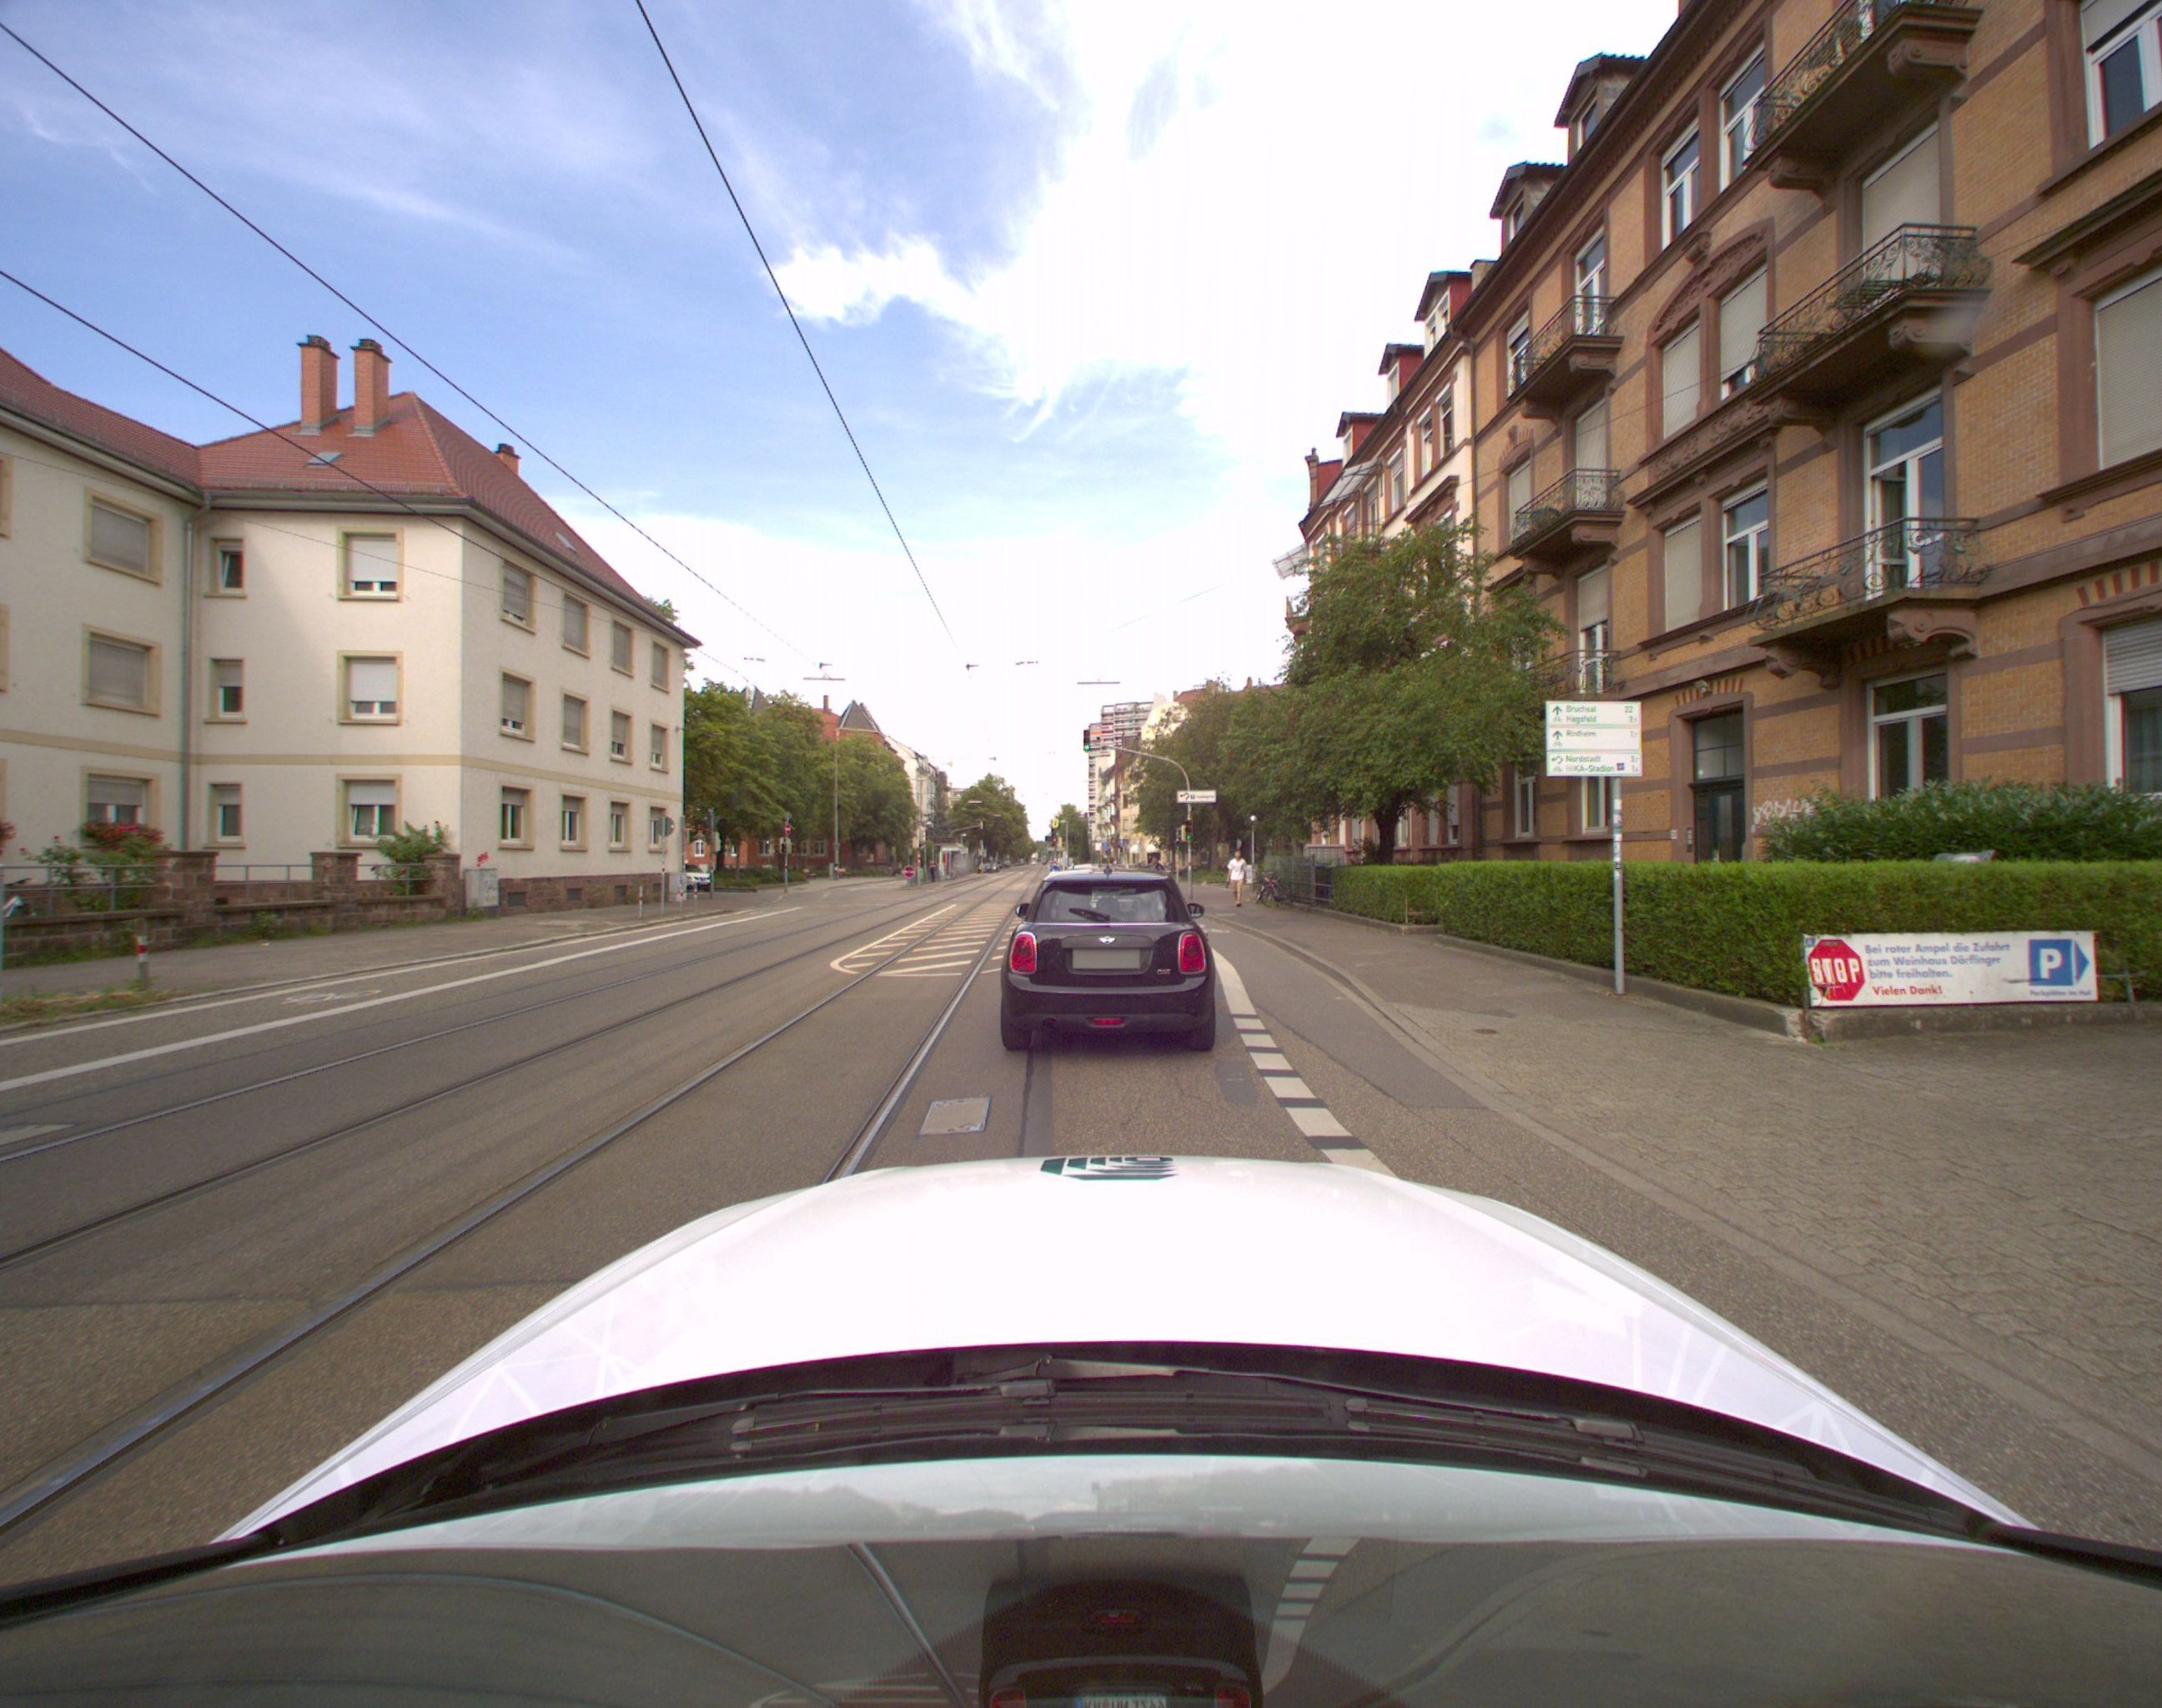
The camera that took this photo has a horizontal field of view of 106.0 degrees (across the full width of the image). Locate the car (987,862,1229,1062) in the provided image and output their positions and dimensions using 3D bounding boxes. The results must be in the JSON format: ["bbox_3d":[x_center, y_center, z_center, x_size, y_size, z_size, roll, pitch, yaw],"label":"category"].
[{"bbox_3d":[0.250,0.805,7.920,1.745,1.441,4.001,-1,-1,1],"label":"car"}]

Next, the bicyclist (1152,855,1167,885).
[{"bbox_3d":[4.080,0.823,42.398,0.682,1.564,0.998,-1,-1,0],"label":"bicyclist"}]

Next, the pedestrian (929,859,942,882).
[{"bbox_3d":[-10.233,1.164,57.246,0.851,1.621,0.841,0,-1,-8],"label":"pedestrian"}]

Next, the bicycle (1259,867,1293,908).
[{"bbox_3d":[5.579,0.944,23.357,0.507,1.088,1.549,-4,0,-2],"label":"bicycle"}]

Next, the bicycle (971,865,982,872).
[{"bbox_3d":[-16.335,2.275,127.900,1.681,1.119,0.566,0,-1,-42],"label":"bicycle"}]

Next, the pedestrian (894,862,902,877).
[{"bbox_3d":[-20.681,1.717,92.178,0.832,1.703,0.731,0,-1,-8],"label":"pedestrian"}]

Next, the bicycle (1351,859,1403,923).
[{"bbox_3d":[6.172,0.743,17.058,0.514,1.282,1.550,-1,-1,0],"label":"bicycle"}]

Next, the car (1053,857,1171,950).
[{"bbox_3d":[0.563,0.828,15.318,1.920,1.510,4.001,-1,-1,1],"label":"car"}]

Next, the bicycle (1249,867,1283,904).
[{"bbox_3d":[5.909,0.983,26.094,0.669,1.106,1.671,-1,0,-2],"label":"bicycle"}]

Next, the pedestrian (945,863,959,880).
[{"bbox_3d":[-10.344,1.412,65.215,1.057,1.294,0.983,0,-1,-8],"label":"pedestrian"}]

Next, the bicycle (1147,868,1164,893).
[{"bbox_3d":[3.620,1.279,39.816,0.597,1.170,1.695,-1,0,-2],"label":"bicycle"}]

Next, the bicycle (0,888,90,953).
[{"bbox_3d":[-16.120,1.004,12.224,0.476,0.915,1.671,-1,0,-2],"label":"bicycle"}]

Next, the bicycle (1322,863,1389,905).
[{"bbox_3d":[6.979,0.757,20.743,1.542,1.009,0.509,-1,-1,-4],"label":"bicycle"}]

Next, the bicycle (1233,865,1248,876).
[{"bbox_3d":[16.760,1.749,85.449,0.659,1.128,1.905,-1,-1,40],"label":"bicycle"}]

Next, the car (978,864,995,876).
[{"bbox_3d":[-12.254,2.024,105.824,1.746,1.441,3.999,1,-1,0],"label":"car"}]

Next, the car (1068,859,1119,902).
[{"bbox_3d":[0.460,0.940,30.320,1.746,1.441,4.479,-1,-1,0],"label":"car"}]

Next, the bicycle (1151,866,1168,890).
[{"bbox_3d":[4.078,1.243,42.449,0.682,1.170,1.696,-1,0,0],"label":"bicycle"}]

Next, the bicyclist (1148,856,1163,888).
[{"bbox_3d":[3.621,0.867,39.818,0.593,1.550,1.013,-1,-1,-2],"label":"bicyclist"}]

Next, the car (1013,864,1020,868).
[{"bbox_3d":[-20.662,3.825,259.827,1.988,1.552,3.997,0,-1,-2],"label":"car"}]

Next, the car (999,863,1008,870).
[{"bbox_3d":[-18.664,2.971,196.989,1.988,1.552,3.997,0,-1,-2],"label":"car"}]

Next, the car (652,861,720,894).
[{"bbox_3d":[-22.559,1.376,46.455,4.105,1.721,1.852,-4,-4,37],"label":"car"}]

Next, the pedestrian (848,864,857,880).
[{"bbox_3d":[-24.889,1.983,88.884,0.832,1.703,0.731,0,-1,-8],"label":"pedestrian"}]

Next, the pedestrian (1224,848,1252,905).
[{"bbox_3d":[4.893,0.700,25.452,0.727,1.754,0.950,-1,-1,2],"label":"pedestrian"}]

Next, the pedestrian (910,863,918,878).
[{"bbox_3d":[-18.955,1.881,92.404,0.692,1.719,0.758,-1,-1,-1],"label":"pedestrian"}]

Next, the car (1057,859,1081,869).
[{"bbox_3d":[-2.554,2.260,180.236,5.067,2.273,2.368,0,-1,-43],"label":"car"}]
